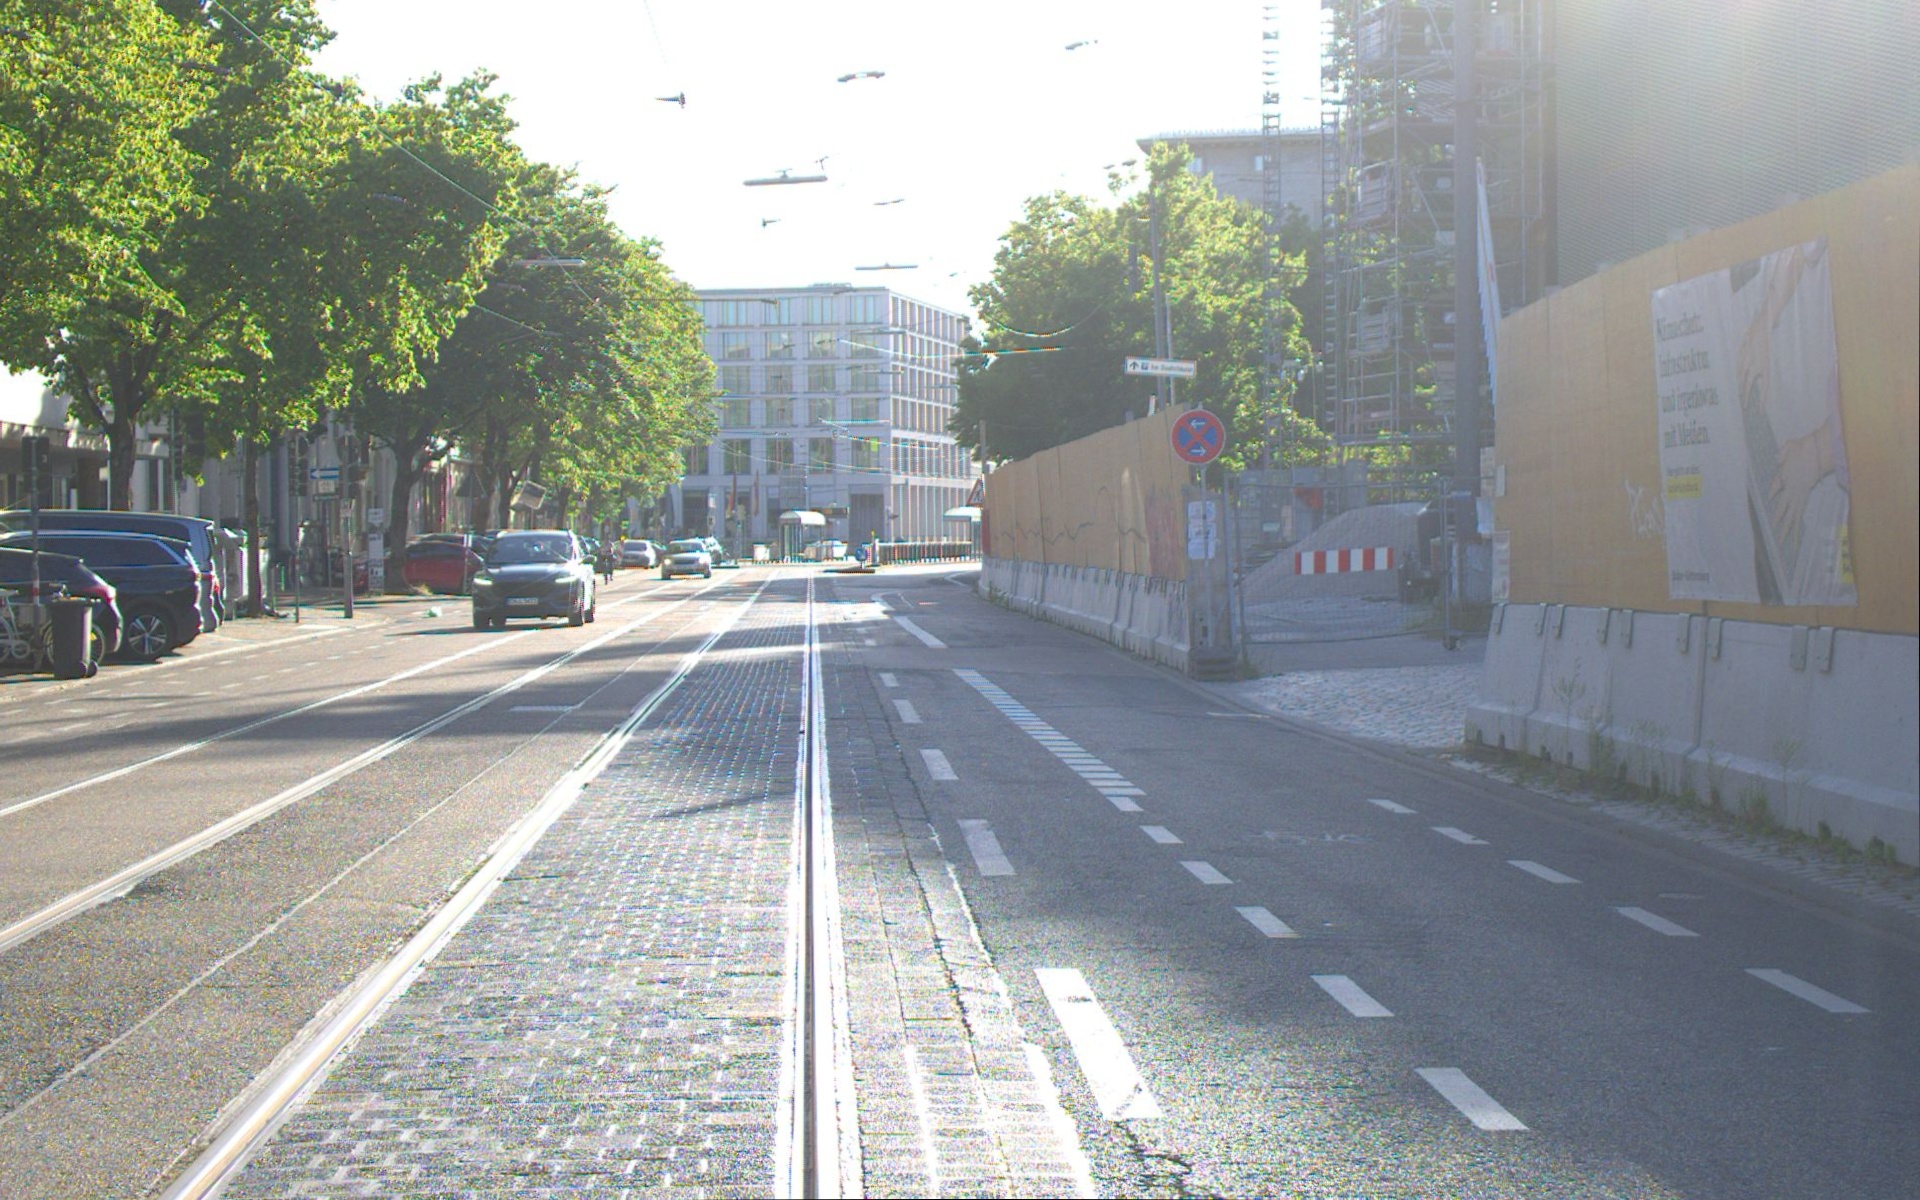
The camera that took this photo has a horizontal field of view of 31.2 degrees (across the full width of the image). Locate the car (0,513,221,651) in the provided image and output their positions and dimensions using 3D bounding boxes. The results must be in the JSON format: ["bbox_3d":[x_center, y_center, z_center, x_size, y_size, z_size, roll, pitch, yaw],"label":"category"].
[{"bbox_3d":[-11.937,-0.234,44.709,4.234,1.679,1.811,-2,2,-23],"label":"car"}]

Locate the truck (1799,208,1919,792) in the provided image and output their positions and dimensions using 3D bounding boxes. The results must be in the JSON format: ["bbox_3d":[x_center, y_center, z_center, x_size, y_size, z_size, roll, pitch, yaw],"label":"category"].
[{"bbox_3d":[6.033,-0.532,16.313,2.519,2.899,5.507,-4,1,-1],"label":"truck"}]

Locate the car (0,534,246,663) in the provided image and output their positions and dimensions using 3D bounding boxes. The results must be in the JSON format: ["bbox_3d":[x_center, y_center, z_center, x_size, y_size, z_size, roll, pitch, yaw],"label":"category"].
[{"bbox_3d":[-10.848,-0.032,42.131,3.855,1.471,1.844,-2,2,-20],"label":"car"}]

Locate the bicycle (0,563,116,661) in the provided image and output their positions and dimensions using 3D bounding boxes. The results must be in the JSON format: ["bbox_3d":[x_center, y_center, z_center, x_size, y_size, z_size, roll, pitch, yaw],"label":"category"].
[{"bbox_3d":[-10.967,0.137,40.423,1.965,1.140,0.493,1,1,-20],"label":"bicycle"}]

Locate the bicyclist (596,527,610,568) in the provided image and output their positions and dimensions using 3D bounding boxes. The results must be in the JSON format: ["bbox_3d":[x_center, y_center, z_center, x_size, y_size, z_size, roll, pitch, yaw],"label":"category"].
[{"bbox_3d":[-12.099,-1.777,116.551,0.457,1.373,0.641,-1,1,-7],"label":"bicyclist"}]

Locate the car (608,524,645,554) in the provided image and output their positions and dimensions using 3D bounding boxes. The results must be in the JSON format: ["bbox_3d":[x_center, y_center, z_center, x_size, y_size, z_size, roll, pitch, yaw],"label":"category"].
[{"bbox_3d":[-16.567,-3.037,170.981,1.572,1.485,4.001,-1,1,-2],"label":"car"}]

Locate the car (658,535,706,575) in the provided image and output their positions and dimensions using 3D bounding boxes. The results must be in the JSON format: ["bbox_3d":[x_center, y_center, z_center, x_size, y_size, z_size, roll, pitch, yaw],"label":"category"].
[{"bbox_3d":[-10.279,-1.681,127.200,1.709,1.431,4.172,-1,1,-4],"label":"car"}]

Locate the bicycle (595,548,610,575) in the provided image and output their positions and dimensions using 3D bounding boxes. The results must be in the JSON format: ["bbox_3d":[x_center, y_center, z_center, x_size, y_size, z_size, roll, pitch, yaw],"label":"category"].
[{"bbox_3d":[-12.106,-1.313,116.515,0.449,0.878,1.902,-1,1,-7],"label":"bicycle"}]

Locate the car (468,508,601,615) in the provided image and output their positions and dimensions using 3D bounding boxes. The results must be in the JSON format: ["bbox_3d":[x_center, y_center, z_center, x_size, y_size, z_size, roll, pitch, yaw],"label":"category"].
[{"bbox_3d":[-7.273,-0.697,59.077,1.927,1.624,4.250,-3,2,-4],"label":"car"}]

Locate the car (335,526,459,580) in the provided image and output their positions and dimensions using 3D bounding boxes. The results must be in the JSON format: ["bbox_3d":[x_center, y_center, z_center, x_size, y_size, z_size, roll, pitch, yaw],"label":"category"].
[{"bbox_3d":[-14.671,-1.229,89.618,2.933,1.327,1.215,-2,2,-30],"label":"car"}]

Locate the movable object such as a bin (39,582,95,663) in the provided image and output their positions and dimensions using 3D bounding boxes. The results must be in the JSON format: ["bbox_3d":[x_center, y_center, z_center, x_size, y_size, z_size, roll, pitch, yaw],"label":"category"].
[{"bbox_3d":[-10.381,0.256,39.951,0.575,0.910,0.575,1,2,-18],"label":"movable object such as a bin"}]

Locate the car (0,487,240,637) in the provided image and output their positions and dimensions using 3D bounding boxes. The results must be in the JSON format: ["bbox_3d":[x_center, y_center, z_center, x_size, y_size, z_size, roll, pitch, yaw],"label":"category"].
[{"bbox_3d":[-12.280,-0.524,47.171,4.353,1.979,1.950,1,1,-24],"label":"car"}]
